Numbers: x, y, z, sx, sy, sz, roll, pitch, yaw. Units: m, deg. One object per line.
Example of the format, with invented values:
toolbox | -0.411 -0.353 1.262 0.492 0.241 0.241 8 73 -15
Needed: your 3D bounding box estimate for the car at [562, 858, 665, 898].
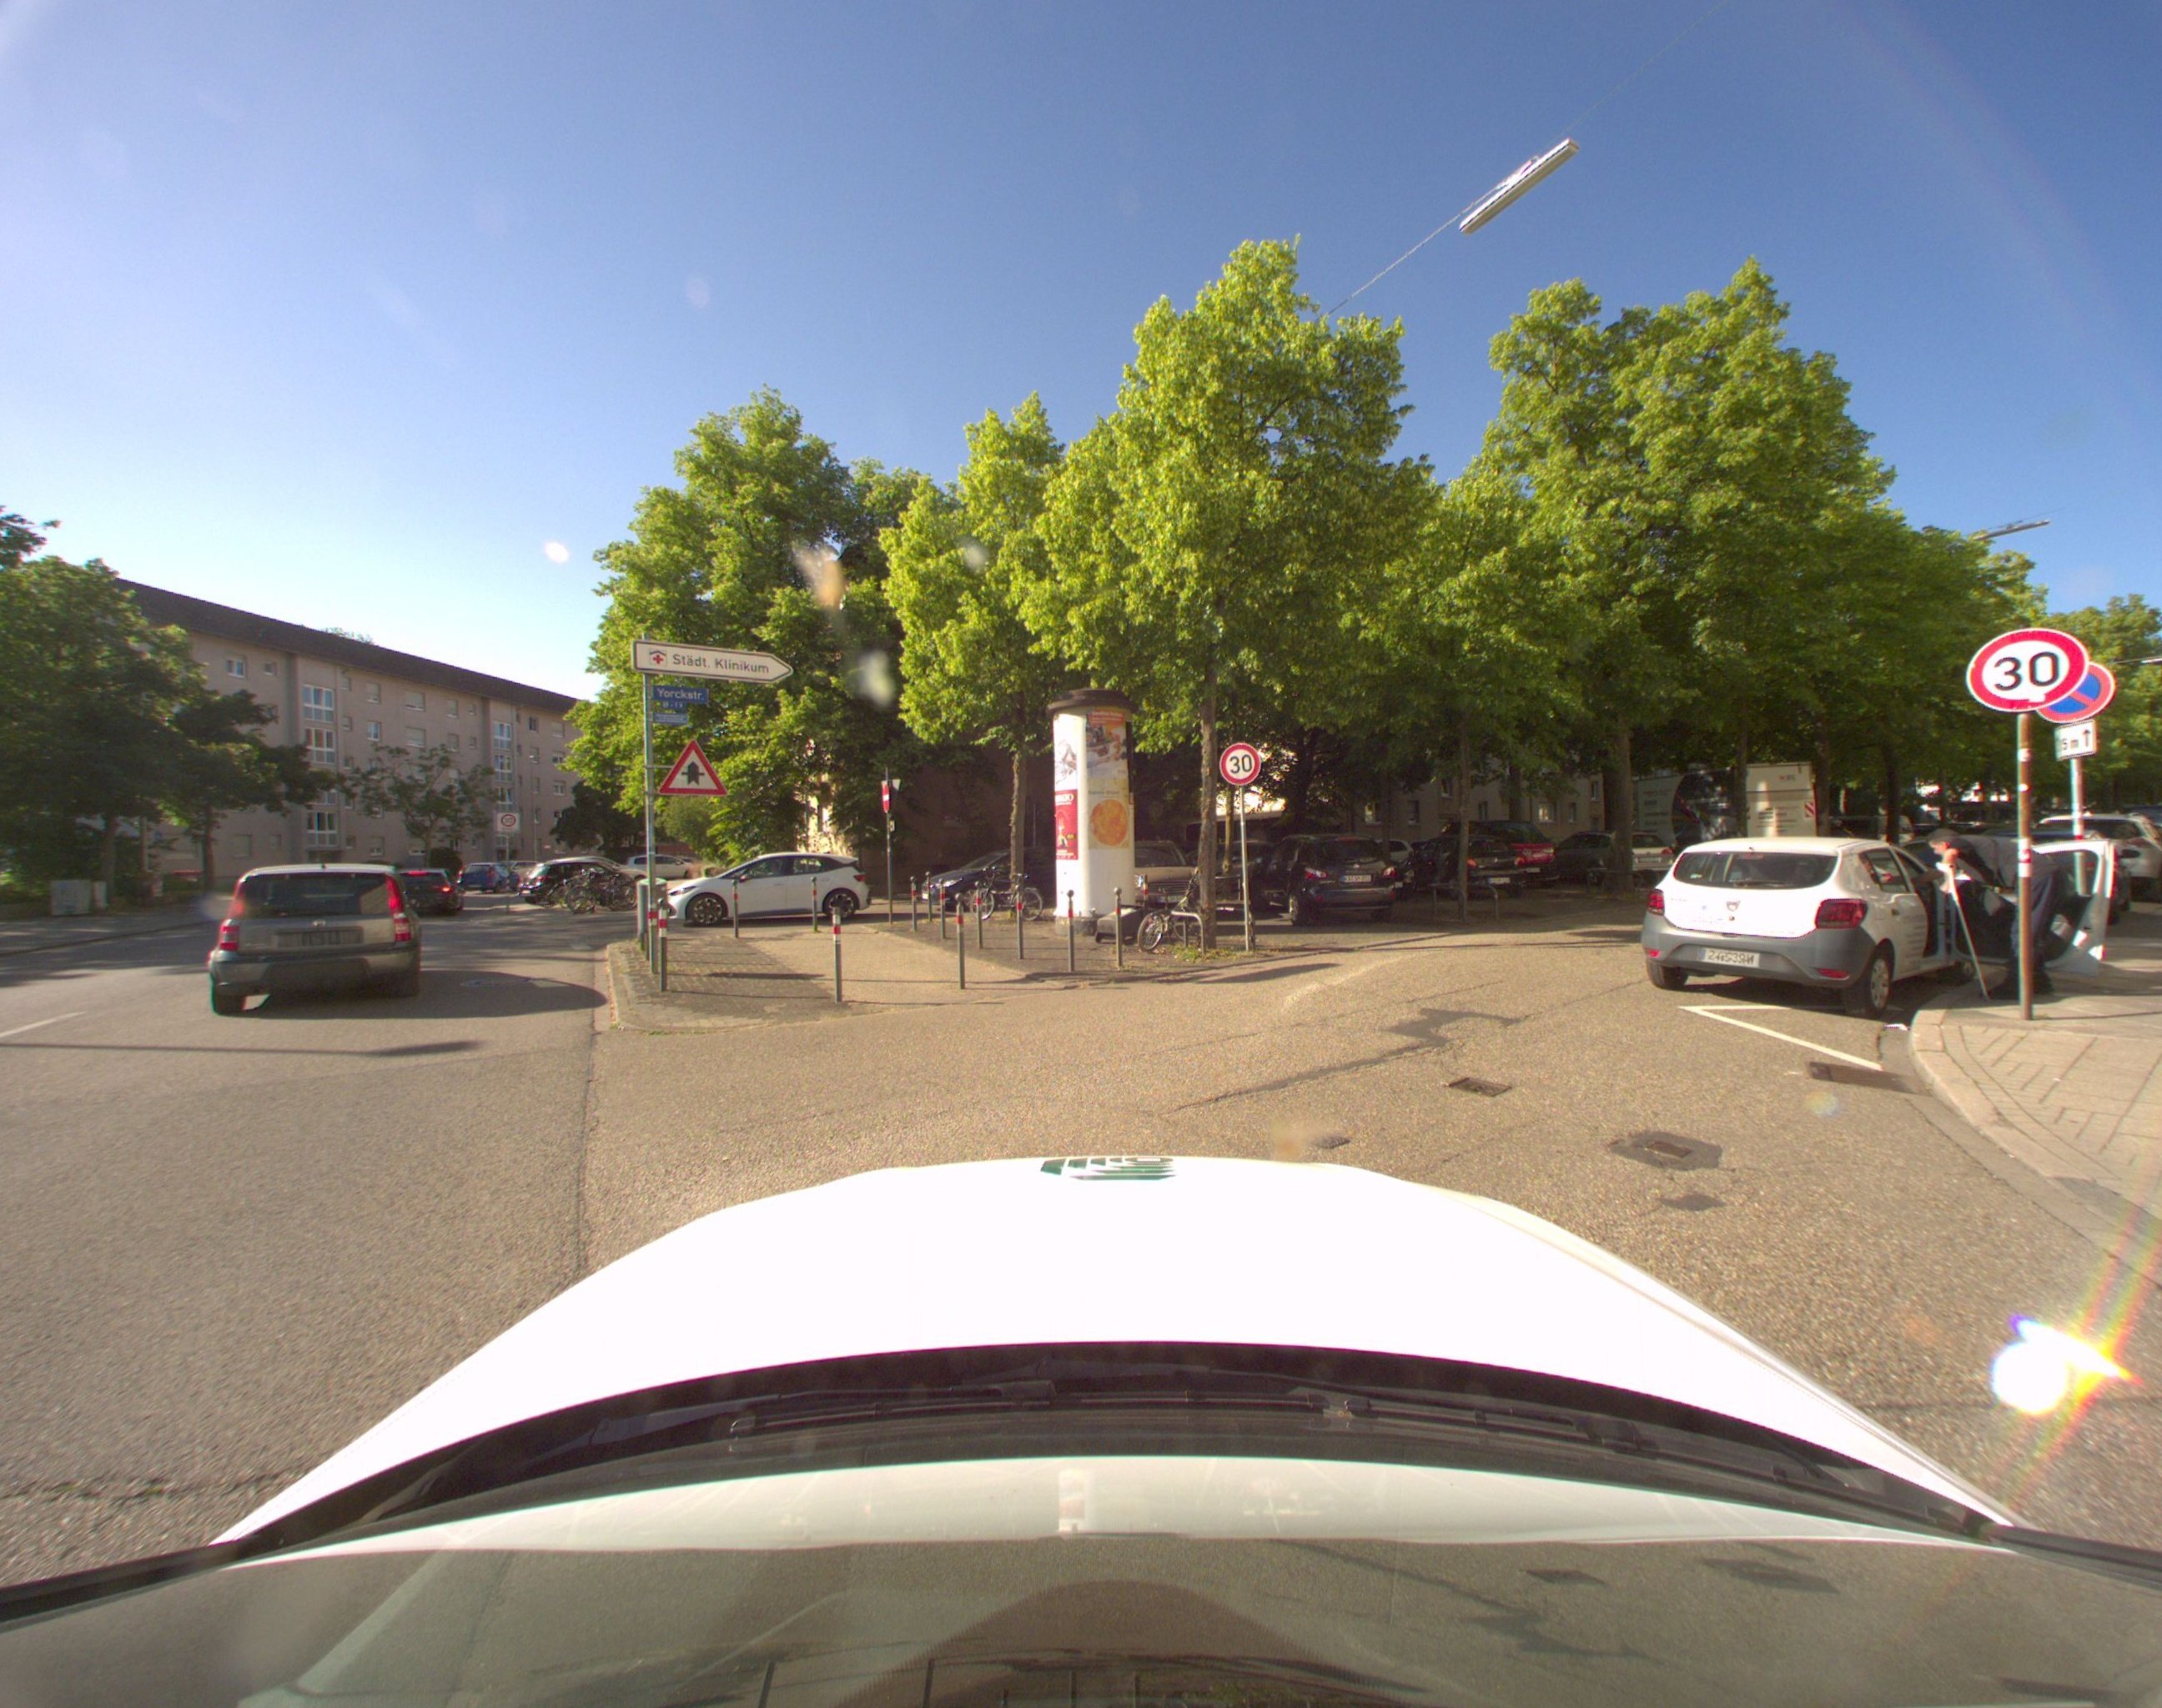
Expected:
car | -19.234 0.951 33.635 1.600 1.481 3.278 -2 1 34

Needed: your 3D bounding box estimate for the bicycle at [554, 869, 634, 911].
bicycle | -15.329 1.106 25.677 2.045 1.177 0.660 -3 1 -40

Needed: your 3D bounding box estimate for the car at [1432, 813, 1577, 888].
car | 11.833 -0.116 23.150 1.921 1.873 4.507 -2 1 3

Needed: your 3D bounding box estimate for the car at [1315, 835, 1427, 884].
car | 9.905 0.155 27.717 3.968 1.486 1.739 -2 1 -38

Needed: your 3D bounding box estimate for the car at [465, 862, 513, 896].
car | -28.930 1.193 39.894 1.690 1.508 3.558 -2 1 -34

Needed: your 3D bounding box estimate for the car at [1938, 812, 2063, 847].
car | 47.889 -1.254 42.556 1.749 1.679 4.144 -2 1 -2

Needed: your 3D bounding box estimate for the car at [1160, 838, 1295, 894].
car | 4.424 0.307 24.308 3.968 1.486 1.739 -2 1 -38

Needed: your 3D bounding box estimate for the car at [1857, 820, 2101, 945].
car | 12.563 0.309 11.360 3.684 1.463 1.586 -2 1 -31

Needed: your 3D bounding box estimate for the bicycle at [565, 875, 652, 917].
bicycle | -13.542 1.188 23.372 2.045 1.031 0.564 -3 1 -40

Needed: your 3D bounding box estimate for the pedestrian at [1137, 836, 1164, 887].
pedestrian | 2.415 0.244 28.361 0.542 1.735 0.734 -2 0 -35

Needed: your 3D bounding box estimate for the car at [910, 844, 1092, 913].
car | -2.047 0.572 21.190 4.315 1.518 1.890 -2 1 -31

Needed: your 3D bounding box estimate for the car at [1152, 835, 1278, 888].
car | 4.686 0.218 28.237 4.263 1.640 1.741 -2 1 -33

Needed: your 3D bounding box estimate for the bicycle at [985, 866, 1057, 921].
bicycle | -1.249 0.810 17.180 1.601 1.072 0.349 -2 0 -42

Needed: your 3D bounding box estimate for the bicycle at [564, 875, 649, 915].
bicycle | -13.861 1.174 23.832 2.045 1.031 0.463 -3 1 -40

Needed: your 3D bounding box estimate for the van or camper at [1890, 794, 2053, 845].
van or camper | 57.185 -2.120 52.613 2.302 2.929 7.239 -2 0 -4

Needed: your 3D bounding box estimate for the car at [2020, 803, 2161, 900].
car | 20.924 -0.113 16.604 4.527 1.753 1.749 -2 1 -33

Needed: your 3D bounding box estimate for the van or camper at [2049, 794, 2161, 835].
van or camper | 90.774 -3.434 71.918 2.481 3.240 6.672 -2 0 -2

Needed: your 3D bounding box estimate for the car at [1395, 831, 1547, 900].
car | 9.351 0.225 19.885 1.751 1.481 3.820 -2 1 -2

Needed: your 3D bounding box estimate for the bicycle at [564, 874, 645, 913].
bicycle | -14.460 1.179 24.745 2.045 1.031 0.443 -3 1 -40

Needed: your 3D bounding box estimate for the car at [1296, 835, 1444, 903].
car | 6.859 0.301 19.776 1.814 1.422 3.940 -2 1 -7

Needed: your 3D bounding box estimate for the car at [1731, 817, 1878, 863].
car | 26.060 -0.517 29.550 1.722 1.506 4.109 -1 1 0

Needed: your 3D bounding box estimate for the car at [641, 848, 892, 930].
car | -7.040 0.707 18.489 5.046 1.518 1.908 -2 1 -25

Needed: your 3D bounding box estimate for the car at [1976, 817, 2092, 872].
car | 28.753 -0.294 24.555 3.599 1.503 1.784 -2 0 -33

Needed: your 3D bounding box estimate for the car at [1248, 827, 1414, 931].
car | 4.662 0.348 15.885 1.826 1.671 4.336 -2 3 -1

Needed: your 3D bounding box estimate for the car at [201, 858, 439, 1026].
car | -8.720 0.866 9.611 1.629 1.561 3.221 -2 1 -36

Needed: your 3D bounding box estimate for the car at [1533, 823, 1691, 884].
car | 14.866 -0.039 23.120 1.800 1.507 4.347 -2 1 3

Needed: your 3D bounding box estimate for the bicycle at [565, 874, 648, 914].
bicycle | -14.107 1.180 24.263 2.045 1.031 0.443 -3 1 -40

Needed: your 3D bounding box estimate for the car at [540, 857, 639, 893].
car | -23.117 0.955 38.405 1.600 1.481 3.616 -2 1 34

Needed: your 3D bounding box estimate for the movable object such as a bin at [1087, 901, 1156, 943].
movable object such as a bin | 0.674 1.102 13.403 0.570 0.565 1.121 -1 1 38

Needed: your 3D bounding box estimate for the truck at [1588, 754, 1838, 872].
truck | 20.261 -1.189 26.846 2.530 3.293 7.325 -2 0 0

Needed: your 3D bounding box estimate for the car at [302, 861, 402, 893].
car | -45.084 1.407 50.418 4.392 1.798 2.071 -2 0 4

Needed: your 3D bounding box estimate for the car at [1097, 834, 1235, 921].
car | 1.693 0.445 17.626 1.916 1.610 3.986 -2 0 -10

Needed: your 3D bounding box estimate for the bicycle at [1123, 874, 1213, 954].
bicycle | 1.328 0.865 12.225 1.601 1.072 0.349 -2 0 -42

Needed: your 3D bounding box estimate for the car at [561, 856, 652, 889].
car | -24.134 0.919 41.547 1.600 1.481 3.616 -2 1 34

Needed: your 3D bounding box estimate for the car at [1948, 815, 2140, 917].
car | 16.399 0.115 13.806 4.460 1.463 1.788 -2 1 -36

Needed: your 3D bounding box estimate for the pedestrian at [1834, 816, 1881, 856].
pedestrian | 27.718 -0.645 29.085 0.923 1.396 0.753 -2 0 0

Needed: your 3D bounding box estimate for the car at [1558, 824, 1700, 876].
car | 17.531 -0.147 26.339 1.800 1.507 4.347 -2 1 3

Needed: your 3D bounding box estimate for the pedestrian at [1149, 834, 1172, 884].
pedestrian | 2.833 0.170 29.147 0.737 1.735 0.540 -2 0 2

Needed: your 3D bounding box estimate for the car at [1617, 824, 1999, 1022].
car | 7.365 0.513 8.173 4.036 1.497 1.708 -2 1 -31

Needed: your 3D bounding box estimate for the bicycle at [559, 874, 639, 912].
bicycle | -14.866 1.182 25.174 2.045 1.031 0.443 -3 1 -40

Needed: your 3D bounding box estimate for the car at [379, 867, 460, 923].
car | -20.257 1.199 25.058 1.691 1.508 3.717 -2 1 -36

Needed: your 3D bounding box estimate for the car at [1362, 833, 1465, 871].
car | 14.004 -0.097 34.251 4.358 1.435 1.752 -2 1 -31

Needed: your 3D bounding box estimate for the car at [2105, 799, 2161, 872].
car | 30.323 -0.550 22.504 4.862 1.900 1.935 -2 1 -31

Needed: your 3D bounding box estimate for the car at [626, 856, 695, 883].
car | -25.342 0.921 49.245 3.600 1.481 1.608 -2 0 -26

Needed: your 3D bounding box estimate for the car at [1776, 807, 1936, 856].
car | 31.660 -0.907 33.474 2.072 1.864 4.515 -1 1 -6

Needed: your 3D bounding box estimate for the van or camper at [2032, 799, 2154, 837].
van or camper | 79.906 -2.790 64.492 2.242 2.637 5.883 -2 0 -2

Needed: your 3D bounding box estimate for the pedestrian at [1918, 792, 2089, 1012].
pedestrian | 7.765 0.365 6.870 0.746 1.722 0.755 -2 0 -25

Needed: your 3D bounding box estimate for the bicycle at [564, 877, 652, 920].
bicycle | -13.193 1.212 22.753 2.045 1.031 0.564 -3 1 -40

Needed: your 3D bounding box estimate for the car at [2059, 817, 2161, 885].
car | 25.455 -0.133 19.704 4.253 1.500 1.750 -2 1 -32
